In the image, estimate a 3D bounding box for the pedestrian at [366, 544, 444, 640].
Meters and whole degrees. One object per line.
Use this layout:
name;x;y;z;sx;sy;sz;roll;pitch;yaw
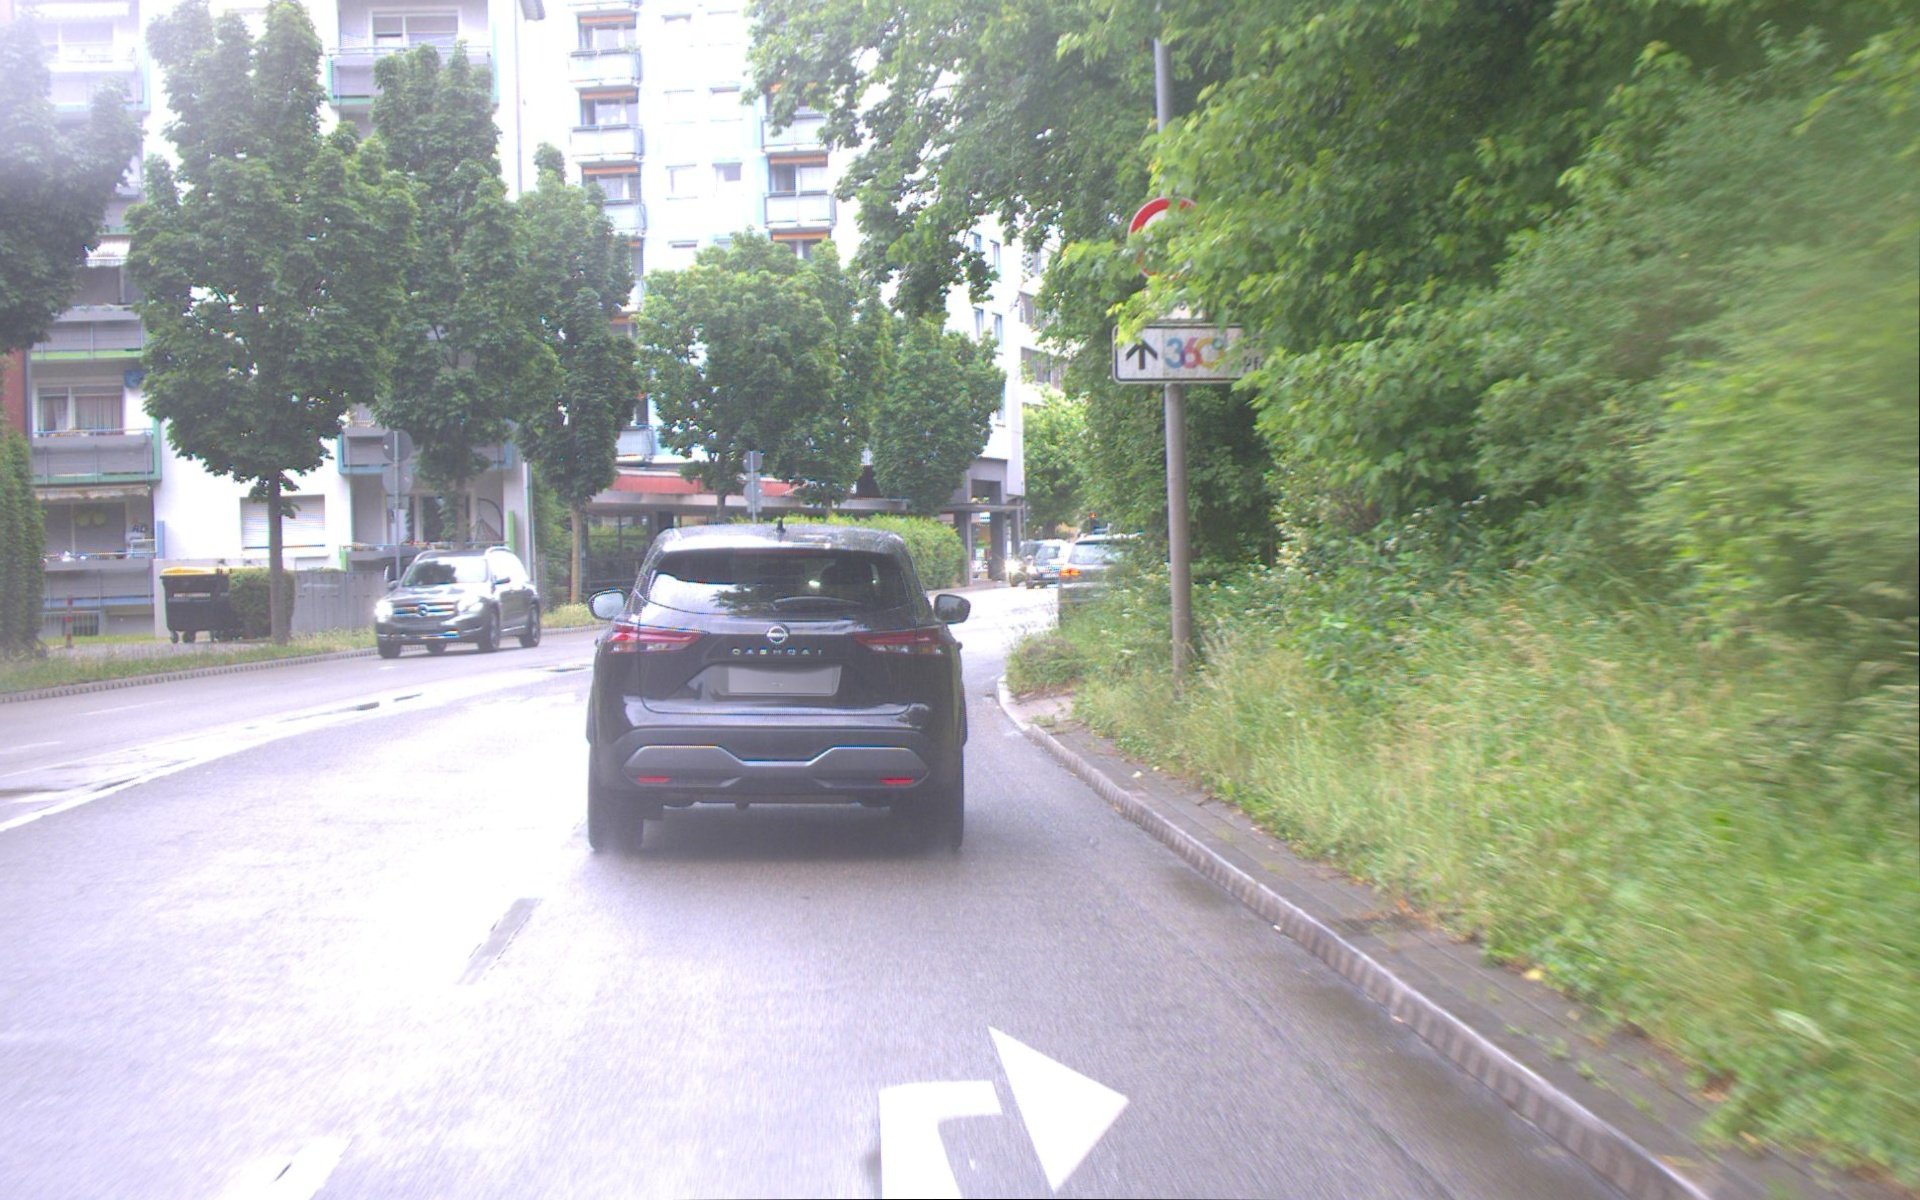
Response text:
pedestrian;-10.781;-0.163;66.828;1.134;1.797;1.263;-2;1;7

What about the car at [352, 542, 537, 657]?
car;-8.184;-0.046;54.992;1.922;1.625;4.501;-3;1;4

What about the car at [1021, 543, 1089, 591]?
car;3.052;-1.066;110.159;1.841;1.380;4.359;-3;1;5

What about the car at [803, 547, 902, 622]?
car;-2.406;-0.380;77.891;1.676;1.557;4.141;2;2;6

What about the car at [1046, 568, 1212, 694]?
car;2.970;0.501;59.586;1.995;2.007;3.997;-1;1;16

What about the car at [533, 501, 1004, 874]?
car;-1.115;0.371;17.808;1.959;1.647;4.001;-2;1;-9

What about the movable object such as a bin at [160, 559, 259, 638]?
movable object such as a bin;-13.401;-0.036;61.472;1.157;1.327;1.966;-2;1;5

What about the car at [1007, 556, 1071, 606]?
car;2.841;-0.683;122.689;1.874;1.597;4.464;-3;1;5
